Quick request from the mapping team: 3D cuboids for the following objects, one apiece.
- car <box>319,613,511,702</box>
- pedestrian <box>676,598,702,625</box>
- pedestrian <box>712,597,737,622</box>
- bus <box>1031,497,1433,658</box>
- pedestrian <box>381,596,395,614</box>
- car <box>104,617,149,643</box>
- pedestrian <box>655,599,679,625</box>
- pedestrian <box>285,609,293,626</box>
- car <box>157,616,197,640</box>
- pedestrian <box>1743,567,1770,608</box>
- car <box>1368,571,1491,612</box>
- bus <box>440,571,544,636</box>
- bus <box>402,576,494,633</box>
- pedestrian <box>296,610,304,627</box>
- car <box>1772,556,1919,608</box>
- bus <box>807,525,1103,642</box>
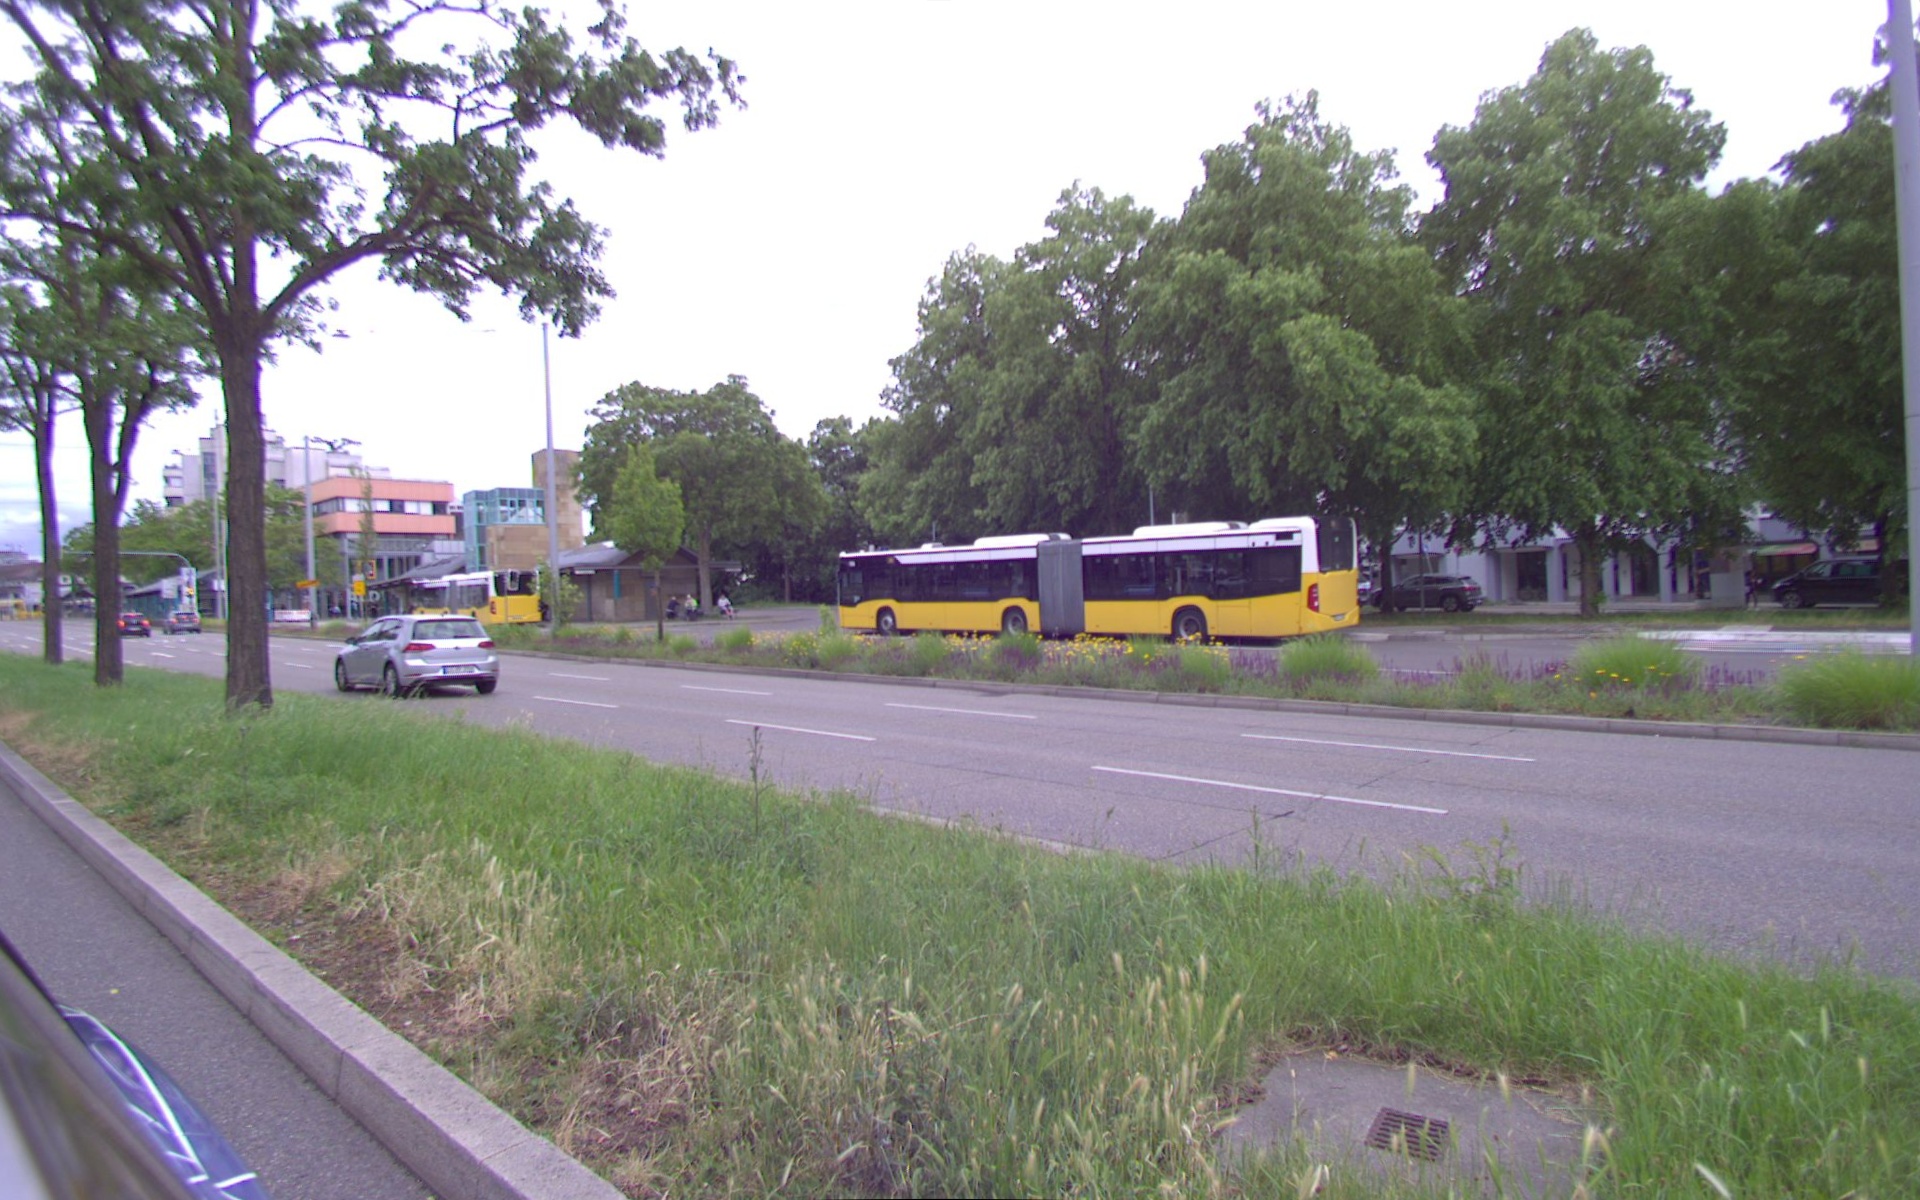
[{"bbox_3d":[-10.092,1.005,18.607,4.131,1.455,1.735,-2,-2,40],"label":"car"},{"bbox_3d":[-13.465,0.569,50.336,0.888,1.300,0.853,-1,0,18],"label":"pedestrian"},{"bbox_3d":[-11.896,0.481,51.081,0.858,1.264,0.883,-2,0,43],"label":"pedestrian"},{"bbox_3d":[6.617,-0.470,26.428,2.996,3.481,9.918,-4,2,-44],"label":"bus"},{"bbox_3d":[-48.325,0.388,85.557,0.975,1.472,0.593,-2,0,-32],"label":"pedestrian"},{"bbox_3d":[-51.964,1.869,63.047,3.768,1.519,1.640,-1,0,43],"label":"car"},{"bbox_3d":[-15.056,0.607,51.984,0.887,1.264,0.854,-1,0,14],"label":"pedestrian"},{"bbox_3d":[-62.279,1.604,93.918,0.521,1.559,0.756,-2,0,-32],"label":"pedestrian"},{"bbox_3d":[-54.043,1.894,69.824,1.794,1.519,4.004,-1,0,-43],"label":"car"},{"bbox_3d":[30.944,-0.494,39.304,0.649,1.559,0.668,-1,0,-40],"label":"pedestrian"},{"bbox_3d":[19.683,-0.347,42.522,1.970,1.593,4.251,-1,0,-44],"label":"car"},{"bbox_3d":[-25.754,0.208,55.351,2.774,3.155,9.316,-4,2,-39],"label":"bus"},{"bbox_3d":[-31.748,0.322,62.523,2.742,3.155,9.452,-4,2,-41],"label":"bus"},{"bbox_3d":[-61.732,1.707,94.609,0.382,1.559,0.479,-2,0,34],"label":"pedestrian"},{"bbox_3d":[34.191,-0.653,38.448,1.967,1.846,4.829,-1,0,-34],"label":"car"},{"bbox_3d":[-0.552,-0.480,33.817,3.050,3.184,10.743,-9,6,-44],"label":"bus"}]
